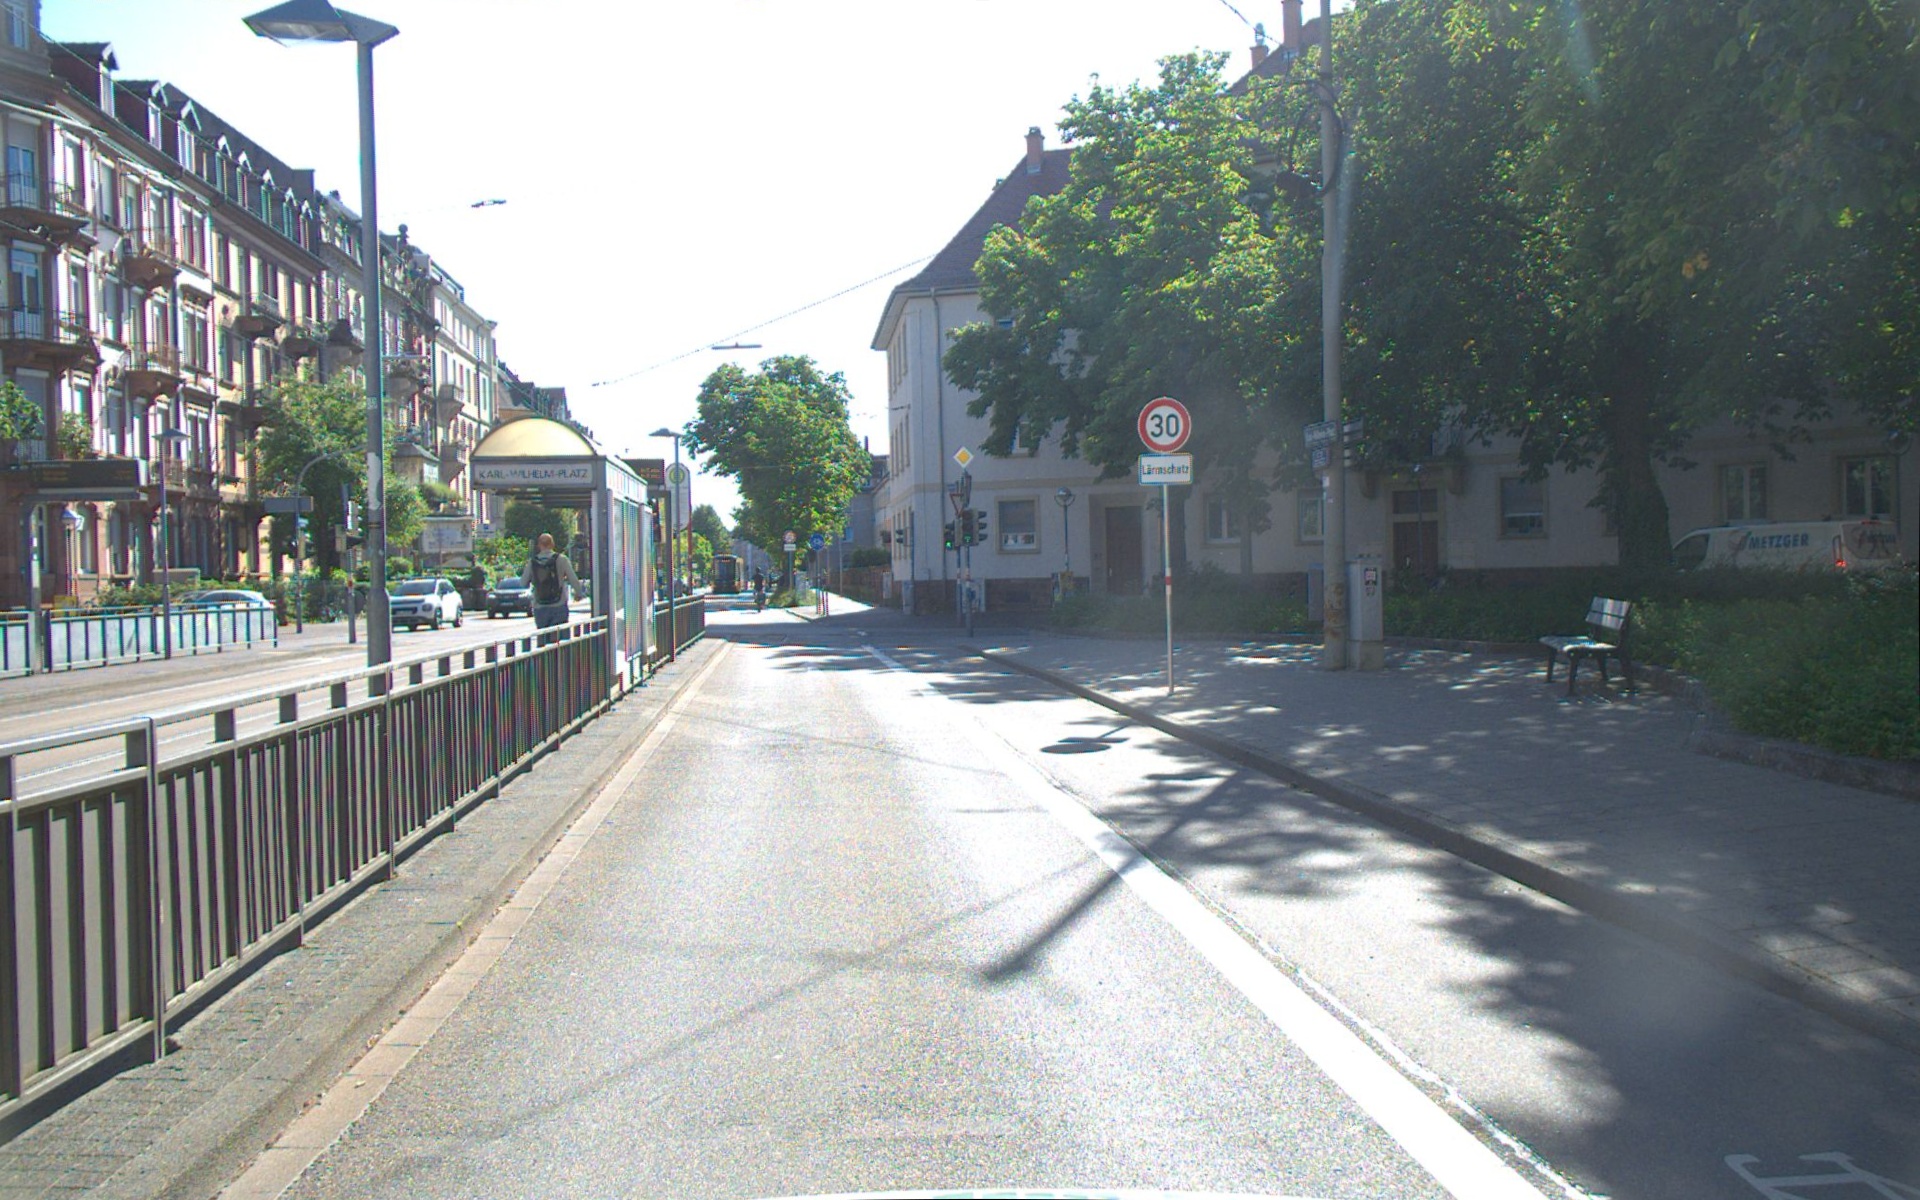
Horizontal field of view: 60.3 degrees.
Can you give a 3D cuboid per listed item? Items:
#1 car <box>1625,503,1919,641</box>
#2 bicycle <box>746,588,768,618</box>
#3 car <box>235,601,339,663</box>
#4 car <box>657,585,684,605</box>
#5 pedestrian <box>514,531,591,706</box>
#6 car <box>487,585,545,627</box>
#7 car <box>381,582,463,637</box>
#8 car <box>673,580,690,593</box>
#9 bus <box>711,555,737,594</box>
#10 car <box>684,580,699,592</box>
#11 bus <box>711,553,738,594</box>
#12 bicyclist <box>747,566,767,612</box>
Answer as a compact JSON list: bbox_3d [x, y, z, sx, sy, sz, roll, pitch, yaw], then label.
[{"bbox_3d":[14.667,-0.466,29.746,2.092,2.247,4.903,-1,0,-26],"label":"car"},{"bbox_3d":[-8.240,0.116,67.132,0.825,1.176,2.536,-1,0,-6],"label":"bicycle"},{"bbox_3d":[-18.949,0.872,46.730,1.742,1.646,3.993,-1,0,-7],"label":"car"},{"bbox_3d":[-24.058,-0.394,137.366,1.955,1.624,3.994,-1,0,-7],"label":"car"},{"bbox_3d":[-4.870,0.217,19.804,0.780,2.049,0.739,-1,0,-6],"label":"pedestrian"},{"bbox_3d":[-18.074,0.238,67.436,1.742,1.646,3.993,-1,0,-7],"label":"car"},{"bbox_3d":[-16.989,0.290,52.421,1.742,1.646,3.993,-1,0,-7],"label":"car"},{"bbox_3d":[-35.399,-1.749,210.312,1.955,1.624,3.994,-1,0,-6],"label":"car"},{"bbox_3d":[-22.269,-2.345,156.191,2.341,3.557,7.370,-1,0,-8],"label":"bus"},{"bbox_3d":[-37.652,-2.003,232.089,1.955,1.624,3.994,-1,0,-6],"label":"car"},{"bbox_3d":[-21.226,-2.329,148.888,2.341,3.557,7.370,-1,0,-8],"label":"bus"},{"bbox_3d":[-8.241,-0.437,67.118,0.802,1.843,1.058,-1,0,-6],"label":"bicyclist"}]
